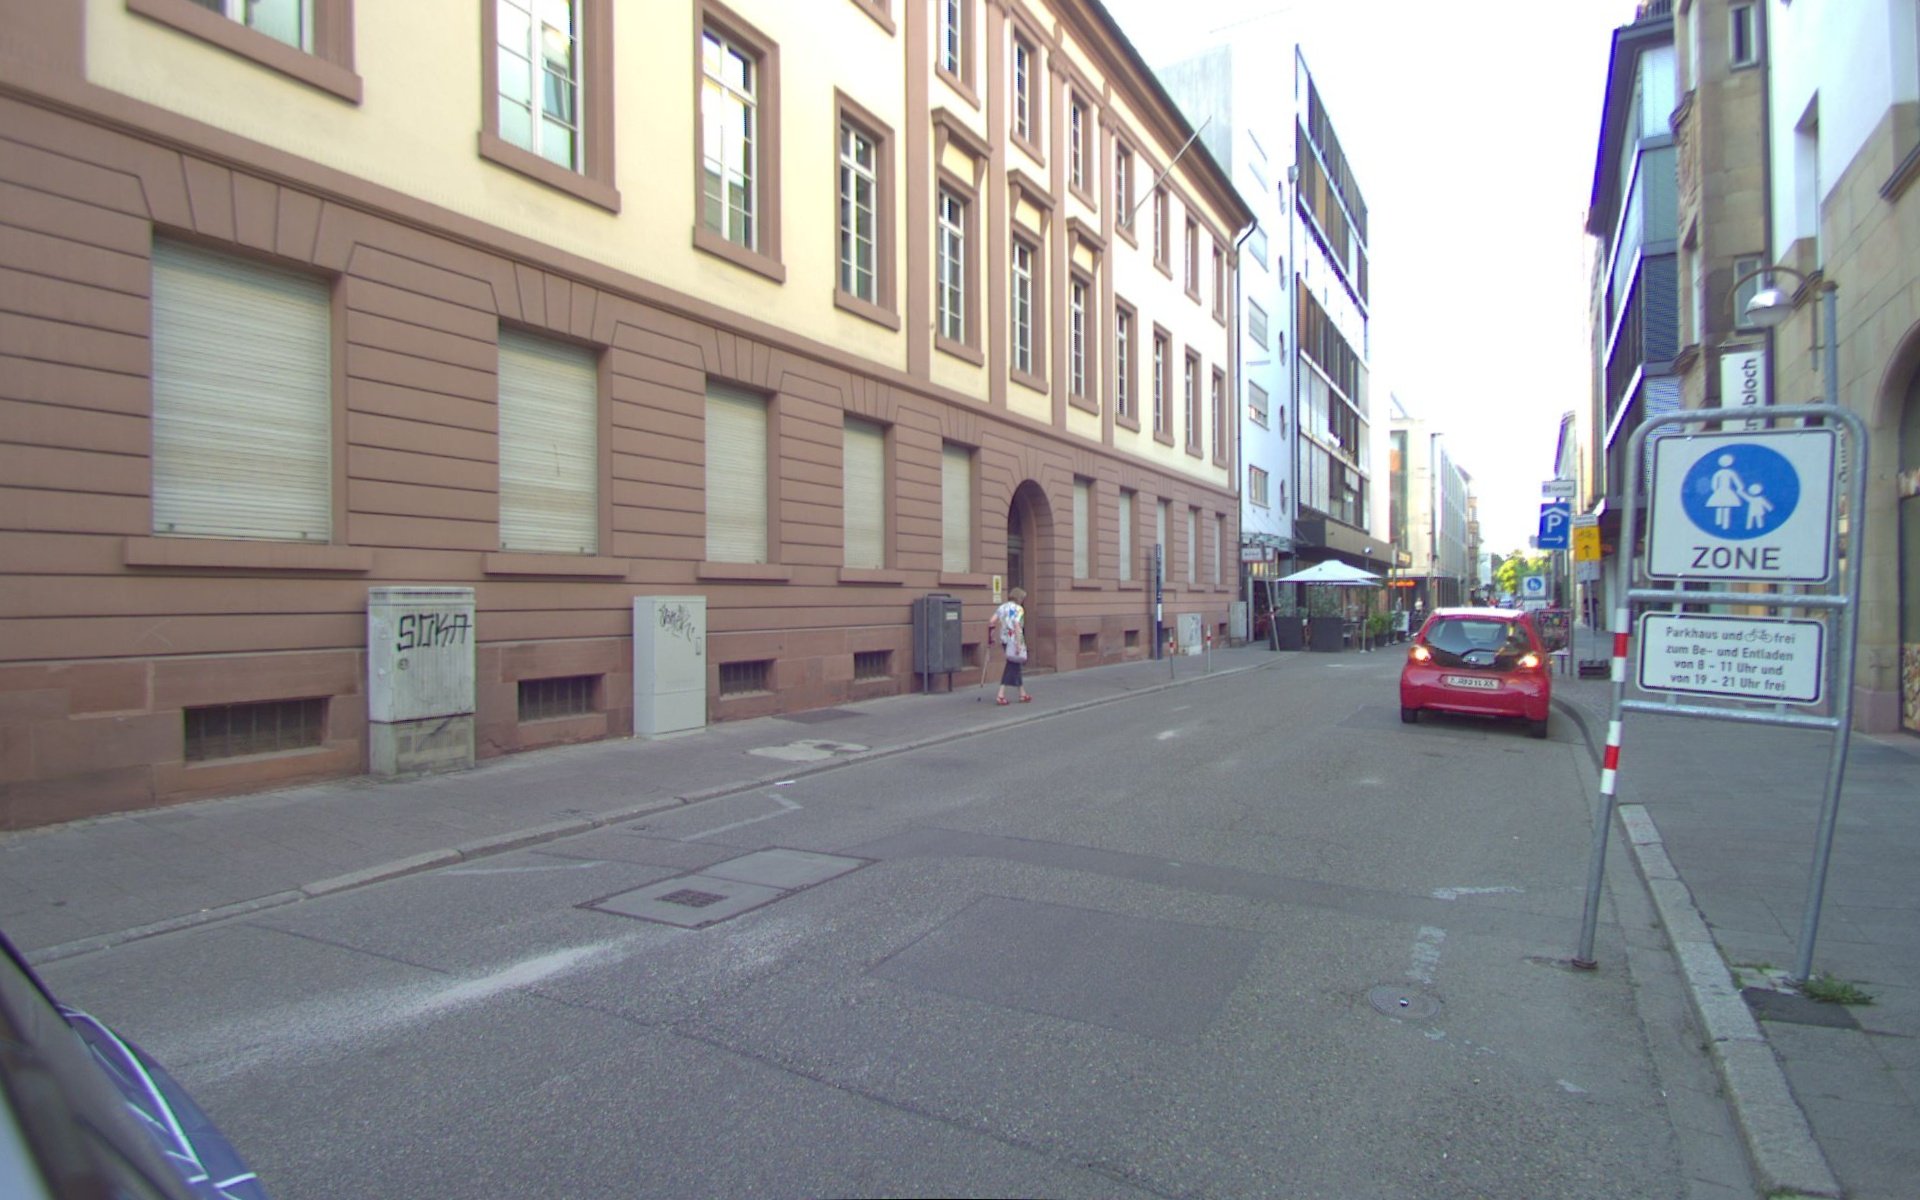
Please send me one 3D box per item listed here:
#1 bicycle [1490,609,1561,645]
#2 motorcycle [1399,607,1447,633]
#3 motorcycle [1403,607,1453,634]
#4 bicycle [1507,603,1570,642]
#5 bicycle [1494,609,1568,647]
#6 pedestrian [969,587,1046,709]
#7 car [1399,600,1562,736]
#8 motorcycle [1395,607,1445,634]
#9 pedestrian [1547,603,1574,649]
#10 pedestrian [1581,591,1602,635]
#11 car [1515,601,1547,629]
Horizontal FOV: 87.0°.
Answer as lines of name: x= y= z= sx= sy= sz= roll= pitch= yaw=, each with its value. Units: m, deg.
bicycle: x=18.219 y=0.874 z=32.604 sx=1.947 sy=1.139 sz=0.613 roll=-2 pitch=-1 yaw=32
motorcycle: x=23.827 y=1.035 z=52.130 sx=2.188 sy=1.292 sz=0.644 roll=0 pitch=0 yaw=33
motorcycle: x=23.321 y=1.020 z=50.445 sx=2.188 sy=1.292 sz=0.644 roll=0 pitch=0 yaw=33
bicycle: x=17.465 y=0.674 z=30.568 sx=1.602 sy=1.127 sz=0.613 roll=-2 pitch=-1 yaw=32
bicycle: x=17.842 y=0.870 z=31.645 sx=1.947 sy=1.139 sz=0.613 roll=-2 pitch=-1 yaw=32
pedestrian: x=0.693 y=0.666 z=14.614 sx=0.808 sy=1.684 sz=0.922 roll=0 pitch=0 yaw=28
car: x=6.754 y=0.765 z=13.023 sx=1.633 sy=1.452 sz=3.124 roll=2 pitch=1 yaw=30
motorcycle: x=22.622 y=1.017 z=49.763 sx=2.188 sy=1.292 sz=0.644 roll=0 pitch=0 yaw=33
pedestrian: x=22.514 y=0.965 z=37.972 sx=0.808 sy=1.684 sz=0.922 roll=0 pitch=0 yaw=28
pedestrian: x=24.767 y=0.507 z=39.689 sx=0.669 sy=1.684 sz=0.755 roll=0 pitch=-1 yaw=32
car: x=30.975 y=0.821 z=54.883 sx=1.421 sy=1.428 sz=3.856 roll=-2 pitch=-1 yaw=29
